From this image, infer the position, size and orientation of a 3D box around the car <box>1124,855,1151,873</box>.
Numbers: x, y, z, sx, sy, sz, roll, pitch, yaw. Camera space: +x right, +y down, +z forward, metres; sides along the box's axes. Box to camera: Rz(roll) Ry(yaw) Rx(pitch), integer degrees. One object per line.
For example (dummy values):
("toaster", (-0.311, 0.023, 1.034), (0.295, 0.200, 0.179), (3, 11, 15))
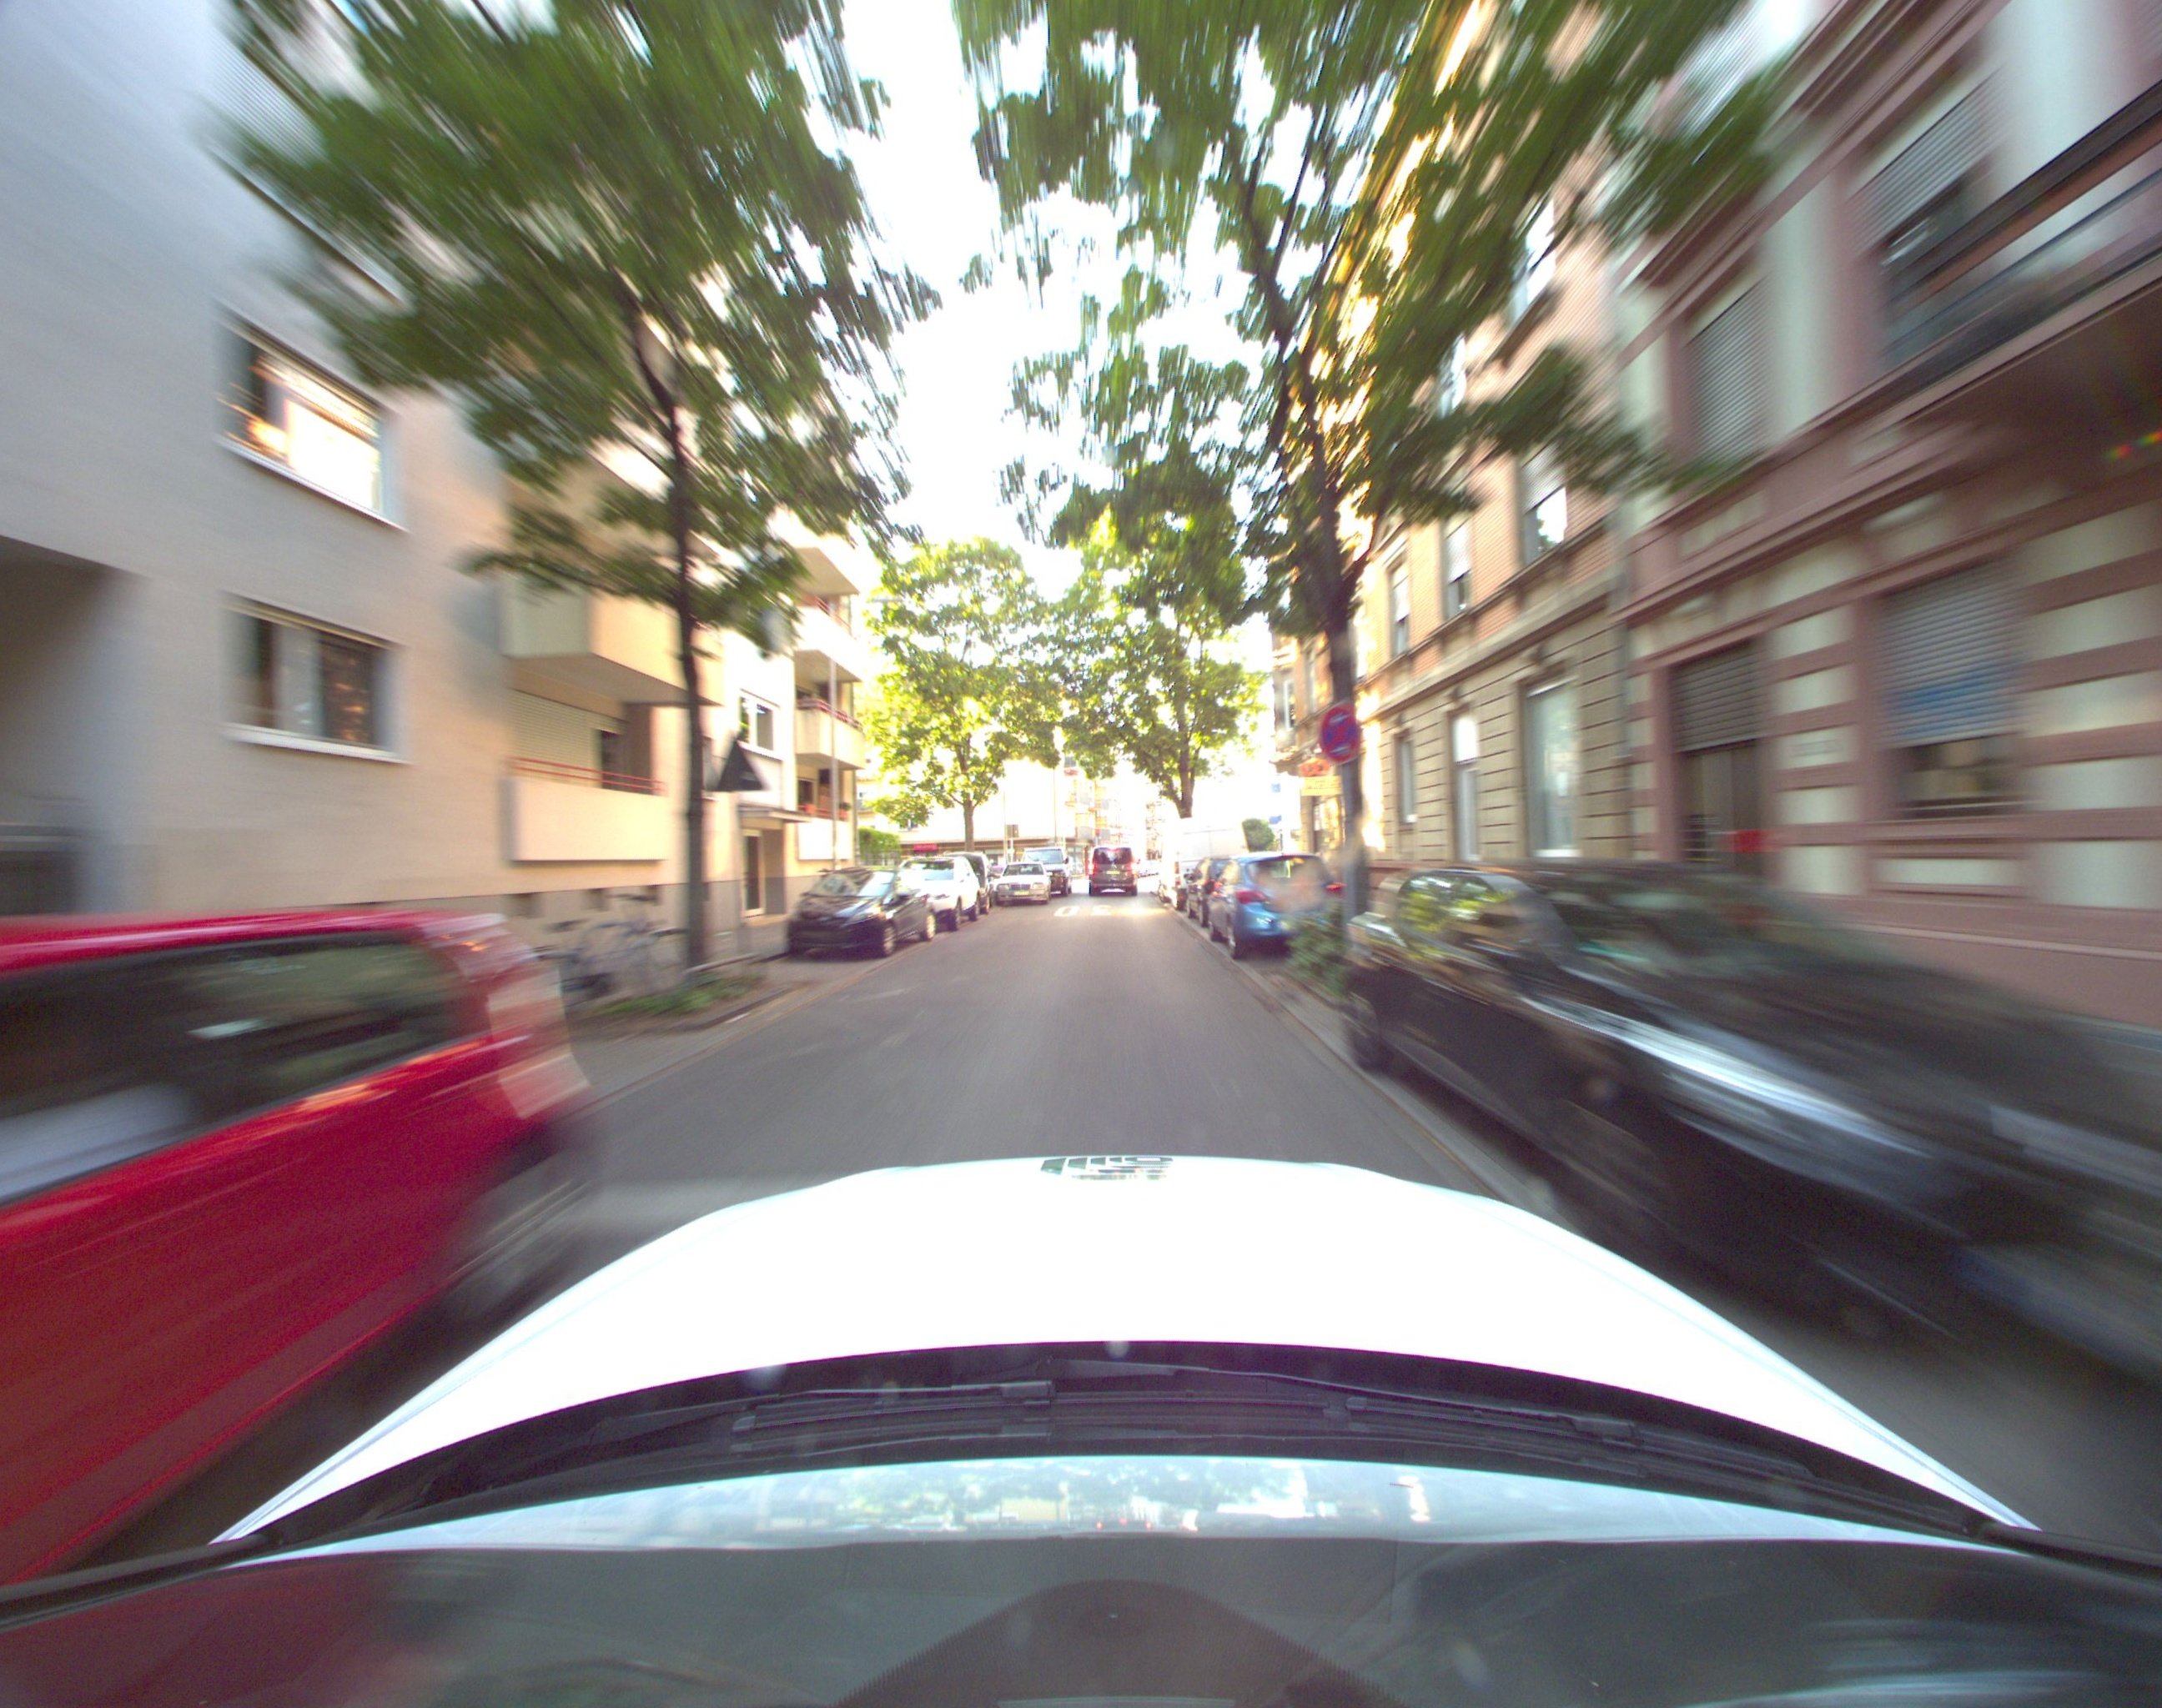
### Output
("car", (5.281, 0.926, 75.601), (1.783, 1.578, 3.762), (-2, 0, 14))

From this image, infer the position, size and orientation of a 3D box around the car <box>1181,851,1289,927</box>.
("car", (3.300, 0.701, 18.101), (1.744, 1.471, 3.776), (-2, 0, 1))

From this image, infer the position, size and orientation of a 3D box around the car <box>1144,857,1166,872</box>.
("car", (7.807, 1.089, 85.872), (1.783, 1.420, 3.762), (-2, 0, 14))

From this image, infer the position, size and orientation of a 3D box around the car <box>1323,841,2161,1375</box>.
("car", (2.706, 0.697, 4.166), (1.710, 1.403, 3.812), (-2, 0, -1))

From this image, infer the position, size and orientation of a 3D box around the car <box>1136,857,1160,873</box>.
("car", (6.680, 1.075, 81.188), (1.783, 1.420, 3.762), (-2, 0, 14))

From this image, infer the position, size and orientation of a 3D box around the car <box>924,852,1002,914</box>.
("car", (-3.423, 0.808, 24.146), (1.735, 1.712, 3.376), (0, 0, 2))

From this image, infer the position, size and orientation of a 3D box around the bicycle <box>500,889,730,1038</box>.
("bicycle", (-4.442, 0.980, 7.859), (1.839, 1.195, 0.598), (0, 1, -44))

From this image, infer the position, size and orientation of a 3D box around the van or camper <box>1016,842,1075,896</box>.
("van or camper", (-1.365, 0.562, 32.935), (1.854, 1.983, 4.274), (-2, 0, 3))

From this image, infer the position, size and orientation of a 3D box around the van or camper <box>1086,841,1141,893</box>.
("van or camper", (1.355, 0.502, 32.570), (2.026, 1.897, 4.275), (-2, 0, 4))

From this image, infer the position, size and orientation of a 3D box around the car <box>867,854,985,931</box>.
("car", (-3.527, 0.813, 19.319), (1.890, 1.637, 4.157), (0, 0, 2))

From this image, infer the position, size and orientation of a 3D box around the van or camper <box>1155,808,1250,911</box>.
("van or camper", (3.399, 0.147, 23.831), (1.987, 2.599, 5.424), (-2, 0, 1))

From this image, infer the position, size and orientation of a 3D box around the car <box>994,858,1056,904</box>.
("car", (-1.863, 0.869, 27.839), (1.735, 1.404, 3.376), (-2, 0, 2))

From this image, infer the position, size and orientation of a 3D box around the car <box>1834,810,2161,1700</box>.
("car", (2.469, 0.657, 0.124), (1.543, 1.496, 3.615), (-1, 0, 5))

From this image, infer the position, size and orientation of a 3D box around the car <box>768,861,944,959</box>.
("car", (-3.803, 0.878, 14.487), (1.731, 1.484, 3.845), (0, 0, 5))

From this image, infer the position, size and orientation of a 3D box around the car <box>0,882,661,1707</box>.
("car", (-2.721, 0.868, 1.818), (1.624, 1.430, 3.543), (-2, 0, 1))

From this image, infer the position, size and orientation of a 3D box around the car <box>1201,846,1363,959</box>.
("car", (2.978, 0.653, 12.849), (1.743, 1.471, 3.778), (-2, 0, 2))
